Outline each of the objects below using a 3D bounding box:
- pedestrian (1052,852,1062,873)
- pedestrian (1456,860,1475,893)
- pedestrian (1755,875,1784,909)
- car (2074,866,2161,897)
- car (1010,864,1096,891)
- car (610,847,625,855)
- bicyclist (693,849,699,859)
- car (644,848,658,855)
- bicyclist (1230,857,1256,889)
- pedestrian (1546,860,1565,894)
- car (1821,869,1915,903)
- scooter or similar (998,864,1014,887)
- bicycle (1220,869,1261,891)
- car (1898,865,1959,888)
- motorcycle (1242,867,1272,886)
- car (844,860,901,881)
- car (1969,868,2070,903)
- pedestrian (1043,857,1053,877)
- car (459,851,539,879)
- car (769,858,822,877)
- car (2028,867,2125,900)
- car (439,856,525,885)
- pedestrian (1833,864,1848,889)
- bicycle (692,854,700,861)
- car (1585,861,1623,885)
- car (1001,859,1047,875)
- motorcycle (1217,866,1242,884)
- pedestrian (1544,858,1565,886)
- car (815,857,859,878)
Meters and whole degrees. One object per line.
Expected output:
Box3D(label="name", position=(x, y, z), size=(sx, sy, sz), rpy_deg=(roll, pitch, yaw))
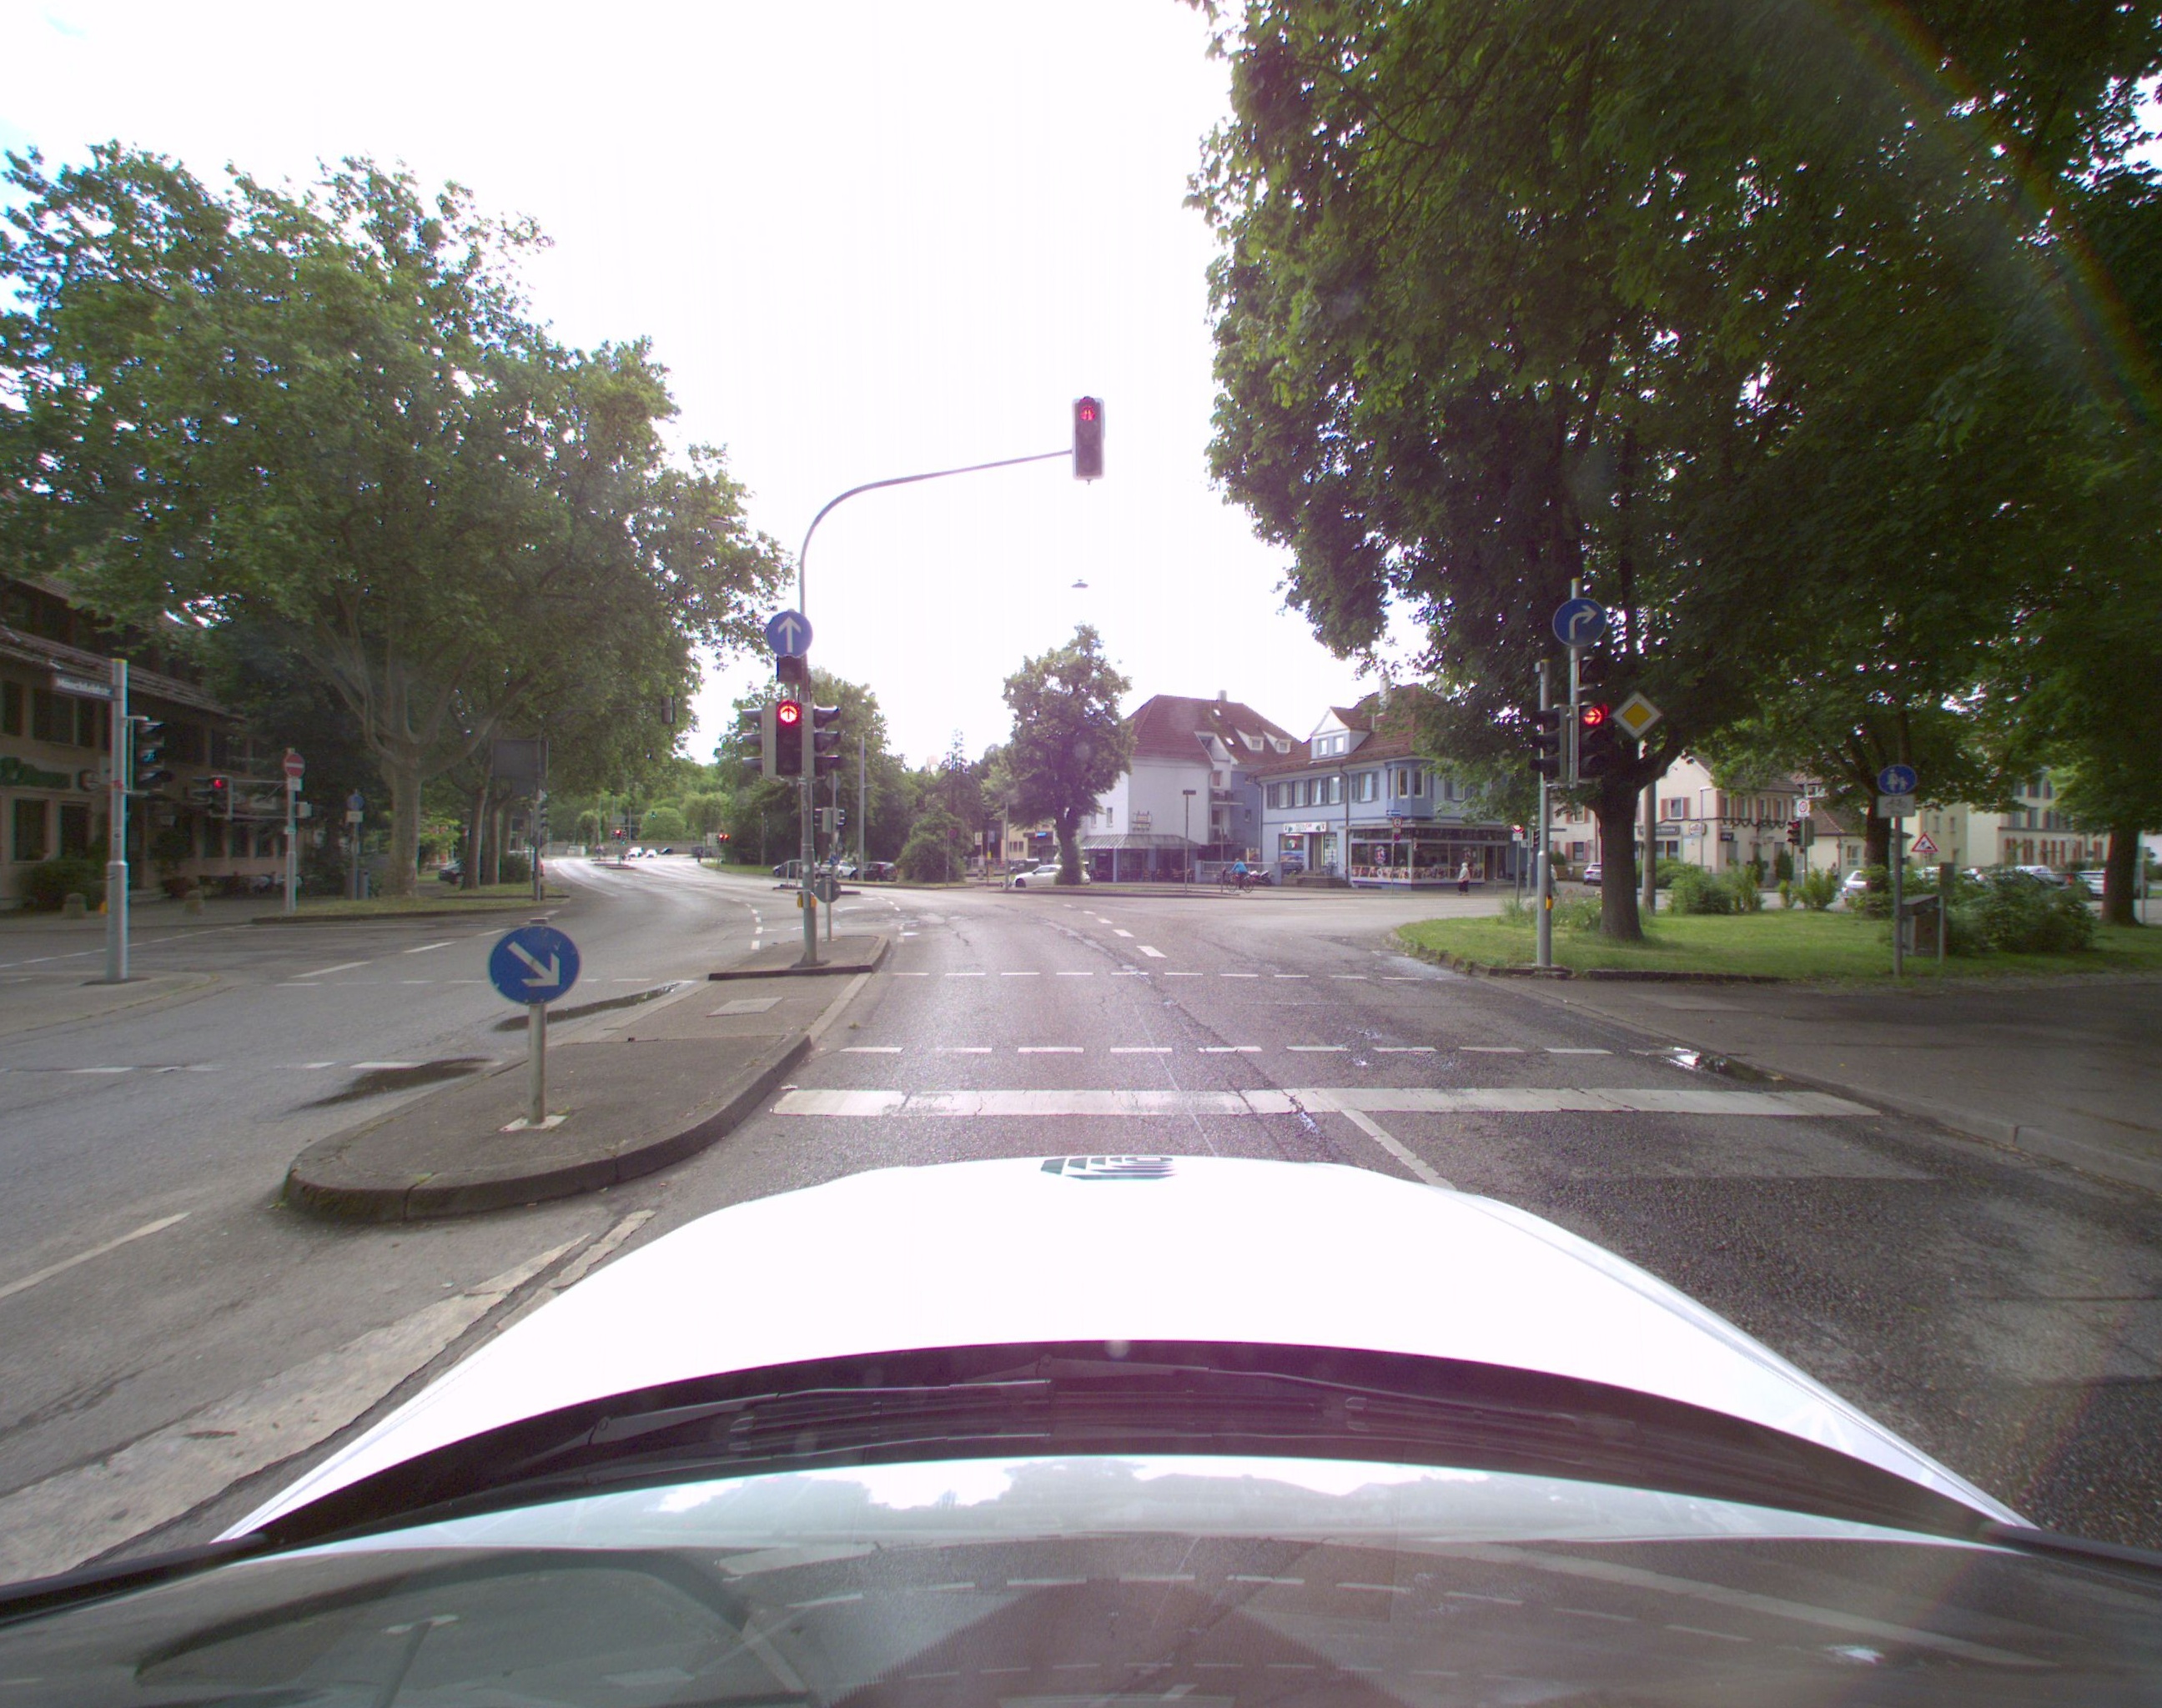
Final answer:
Box3D(label="pedestrian", position=(-1.758, 0.616, 59.434), size=(0.538, 1.560, 0.470), rpy_deg=(-1, -1, 15))
Box3D(label="pedestrian", position=(18.371, 1.086, 38.916), size=(0.724, 1.560, 0.773), rpy_deg=(-1, -1, 33))
Box3D(label="pedestrian", position=(22.809, 1.254, 26.996), size=(0.505, 1.081, 0.514), rpy_deg=(0, -1, -13))
Box3D(label="car", position=(52.593, 1.369, 41.254), size=(3.731, 1.457, 1.640), rpy_deg=(0, 0, -17))
Box3D(label="car", position=(-1.597, 1.284, 45.935), size=(4.654, 1.410, 1.914), rpy_deg=(0, -1, 37))
Box3D(label="car", position=(-87.046, -0.522, 152.943), size=(3.293, 1.486, 1.594), rpy_deg=(-1, -2, 43))
Box3D(label="bicyclist", position=(-51.121, 0.026, 108.033), size=(0.540, 1.342, 0.711), rpy_deg=(0, -1, -13))
Box3D(label="car", position=(-83.135, -0.494, 157.401), size=(2.988, 1.417, 1.509), rpy_deg=(-1, -2, 43))
Box3D(label="bicyclist", position=(8.484, 1.006, 42.708), size=(0.976, 1.651, 0.923), rpy_deg=(-1, -1, 43))
Box3D(label="pedestrian", position=(21.742, 1.053, 37.308), size=(0.687, 1.560, 0.671), rpy_deg=(-1, -1, 33))
Box3D(label="car", position=(31.901, 1.268, 33.024), size=(3.007, 1.267, 1.455), rpy_deg=(0, -1, -17))
Box3D(label="scooter or similar", position=(-3.955, 1.138, 42.849), size=(0.439, 1.175, 1.442), rpy_deg=(-1, -1, 11))
Box3D(label="bicycle", position=(8.373, 1.352, 42.810), size=(1.928, 1.149, 0.881), rpy_deg=(-1, -1, 44))
Box3D(label="car", position=(55.492, 1.440, 53.302), size=(3.871, 1.447, 1.753), rpy_deg=(0, -1, -28))
Box3D(label="motorcycle", position=(10.425, 1.317, 48.247), size=(1.609, 1.088, 0.631), rpy_deg=(-1, -1, 34))
Box3D(label="car", position=(-13.828, 1.053, 54.005), size=(3.285, 1.352, 1.791), rpy_deg=(0, 0, 29))
Box3D(label="car", position=(42.343, 1.379, 36.754), size=(3.731, 1.457, 1.640), rpy_deg=(0, 0, -17))
Box3D(label="pedestrian", position=(-3.248, 1.295, 81.176), size=(0.838, 2.014, 1.051), rpy_deg=(0, -1, -12))
Box3D(label="car", position=(-36.462, 0.678, 51.181), size=(4.015, 1.684, 1.979), rpy_deg=(0, -1, -34))
Box3D(label="car", position=(-22.591, 1.024, 64.520), size=(3.742, 1.465, 1.629), rpy_deg=(0, 0, 20))
Box3D(label="car", position=(47.077, 1.370, 38.516), size=(3.731, 1.457, 1.640), rpy_deg=(0, 0, -17))
Box3D(label="car", position=(-35.632, 0.954, 48.612), size=(4.015, 1.684, 1.979), rpy_deg=(0, -1, -34))
Box3D(label="pedestrian", position=(48.881, 1.435, 52.408), size=(0.504, 1.560, 0.507), rpy_deg=(0, -1, -13))
Box3D(label="bicycle", position=(-51.147, 0.499, 108.164), size=(0.557, 0.958, 2.024), rpy_deg=(0, 0, -12))
Box3D(label="car", position=(32.456, 1.139, 50.621), size=(1.866, 1.391, 3.637), rpy_deg=(0, 0, 31))
Box3D(label="car", position=(-5.321, 1.230, 75.921), size=(3.948, 1.442, 1.742), rpy_deg=(0, 0, -18))
Box3D(label="motorcycle", position=(9.132, 1.306, 50.050), size=(1.441, 1.088, 0.527), rpy_deg=(-1, -1, 37))
Box3D(label="pedestrian", position=(26.484, 0.986, 45.587), size=(0.671, 1.560, 0.743), rpy_deg=(0, -1, -13))
Box3D(label="car", position=(-20.136, 1.082, 67.411), size=(1.848, 1.640, 3.768), rpy_deg=(0, 0, 13))
